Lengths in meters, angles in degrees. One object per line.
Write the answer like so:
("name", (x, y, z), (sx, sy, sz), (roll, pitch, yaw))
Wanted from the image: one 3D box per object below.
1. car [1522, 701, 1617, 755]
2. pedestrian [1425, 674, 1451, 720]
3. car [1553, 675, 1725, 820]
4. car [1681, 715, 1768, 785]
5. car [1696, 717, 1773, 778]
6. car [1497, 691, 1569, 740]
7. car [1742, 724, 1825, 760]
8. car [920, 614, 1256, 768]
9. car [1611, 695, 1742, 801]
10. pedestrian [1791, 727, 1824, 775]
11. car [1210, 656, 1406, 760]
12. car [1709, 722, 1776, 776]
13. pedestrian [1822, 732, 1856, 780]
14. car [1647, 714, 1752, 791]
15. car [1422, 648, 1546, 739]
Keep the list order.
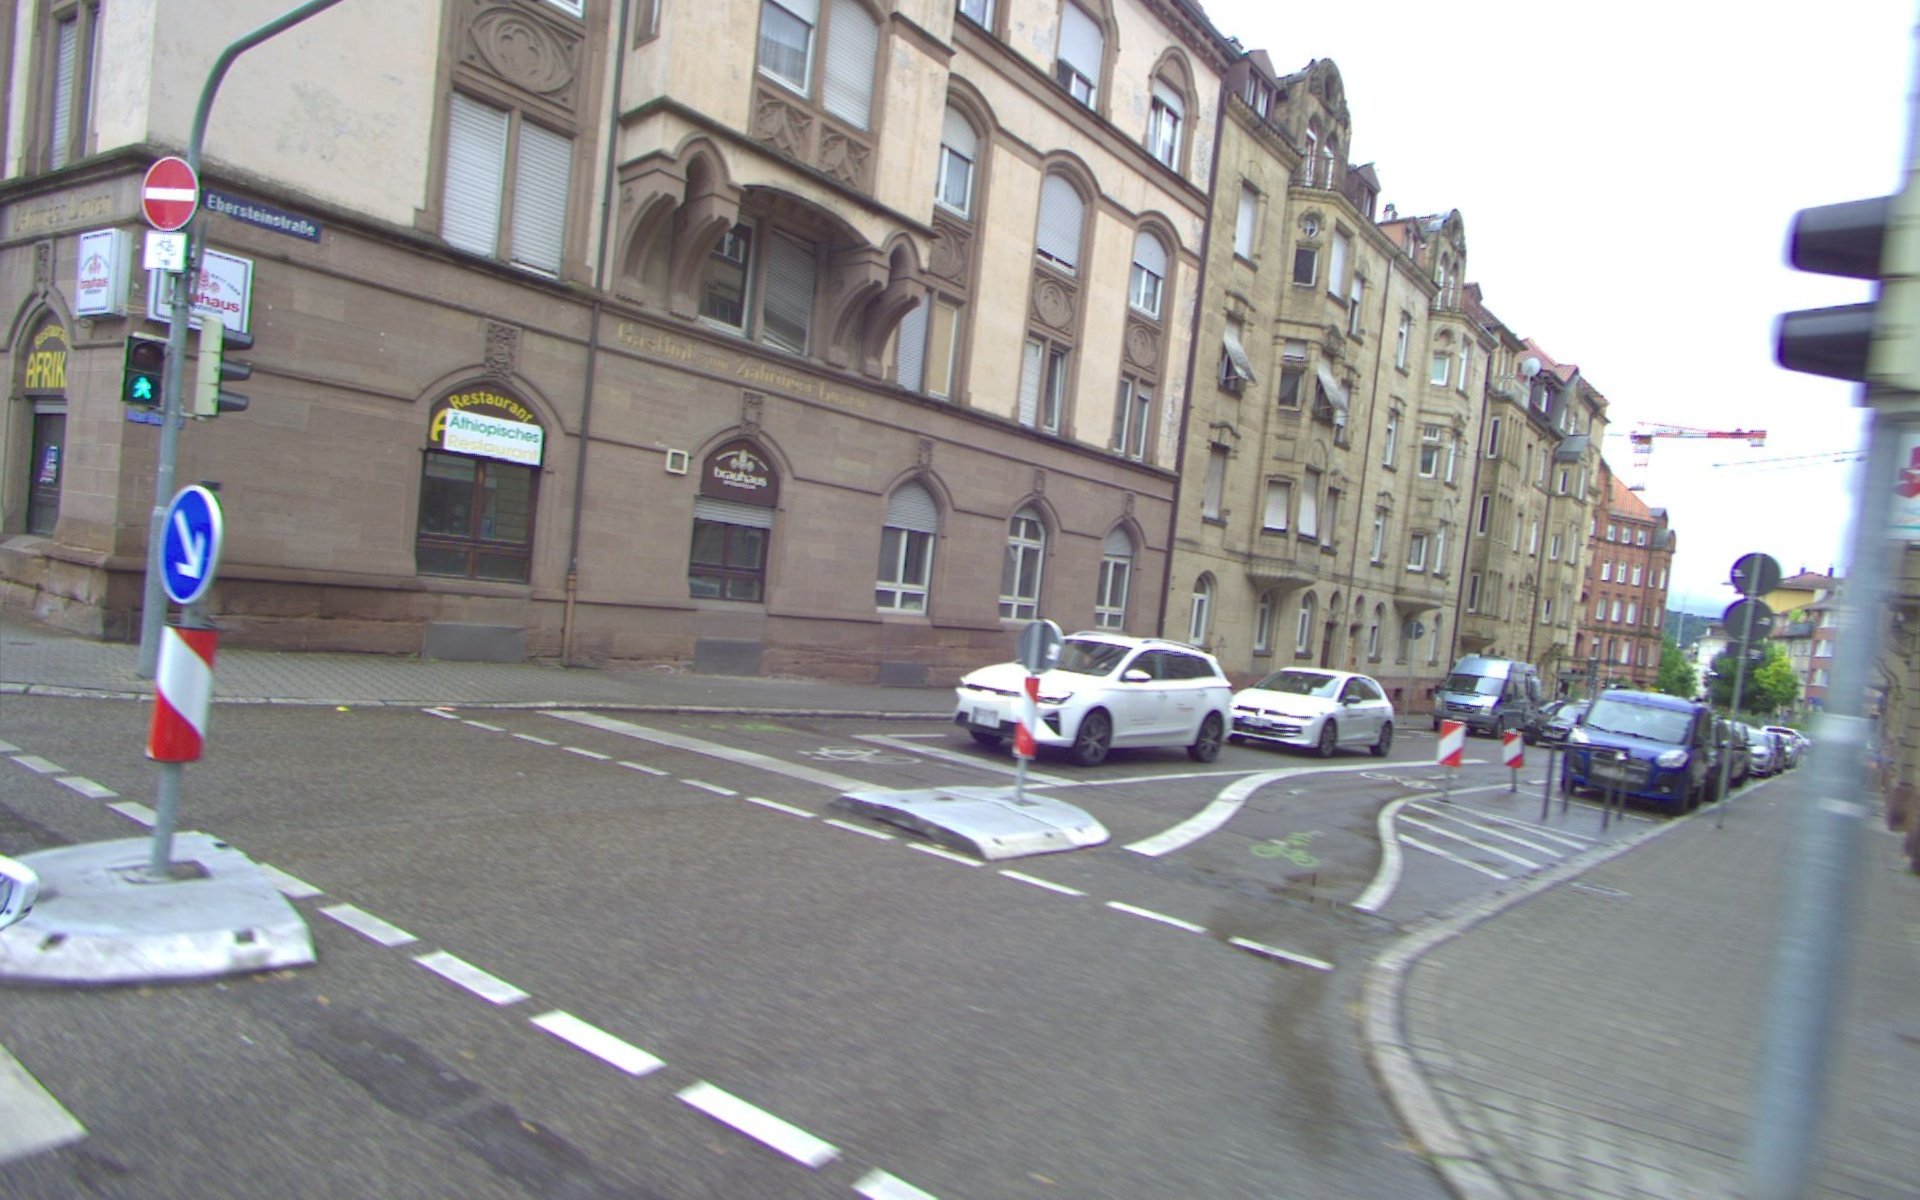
("car", (18.676, 3.922, 30.755), (1.740, 1.319, 3.714), (5, -2, 42))
("pedestrian", (18.294, 3.717, 38.486), (0.652, 1.664, 0.565), (6, -1, 37))
("car", (11.658, 2.451, 17.148), (1.816, 1.922, 4.161), (8, -1, 40))
("car", (21.823, 4.239, 28.661), (1.648, 1.588, 3.915), (8, -1, 40))
("car", (25.198, 4.764, 32.684), (1.648, 1.588, 3.915), (8, -1, 40))
("car", (22.618, 4.573, 39.645), (1.648, 1.588, 3.915), (8, -1, 40))
("car", (54.141, 9.334, 66.191), (1.690, 1.707, 3.770), (7, -1, -21))
("car", (1.811, 1.215, 12.965), (1.819, 1.527, 4.549), (5, -3, 44))
("car", (14.839, 3.000, 20.751), (1.722, 1.716, 3.915), (8, -1, 40))
("pedestrian", (31.239, 5.558, 37.090), (0.780, 1.662, 1.018), (3, -3, 45))
("car", (6.183, 1.915, 17.617), (1.703, 1.443, 4.062), (5, -2, 42))
("car", (28.852, 5.450, 37.050), (1.648, 1.588, 3.915), (8, -1, 40))
("pedestrian", (31.809, 5.631, 36.399), (0.780, 1.610, 1.018), (3, -3, 45))
("car", (18.192, 3.698, 24.688), (1.687, 1.459, 3.915), (8, -1, 40))
("car", (17.550, 3.173, 33.521), (2.097, 2.564, 5.447), (6, -2, 43))
